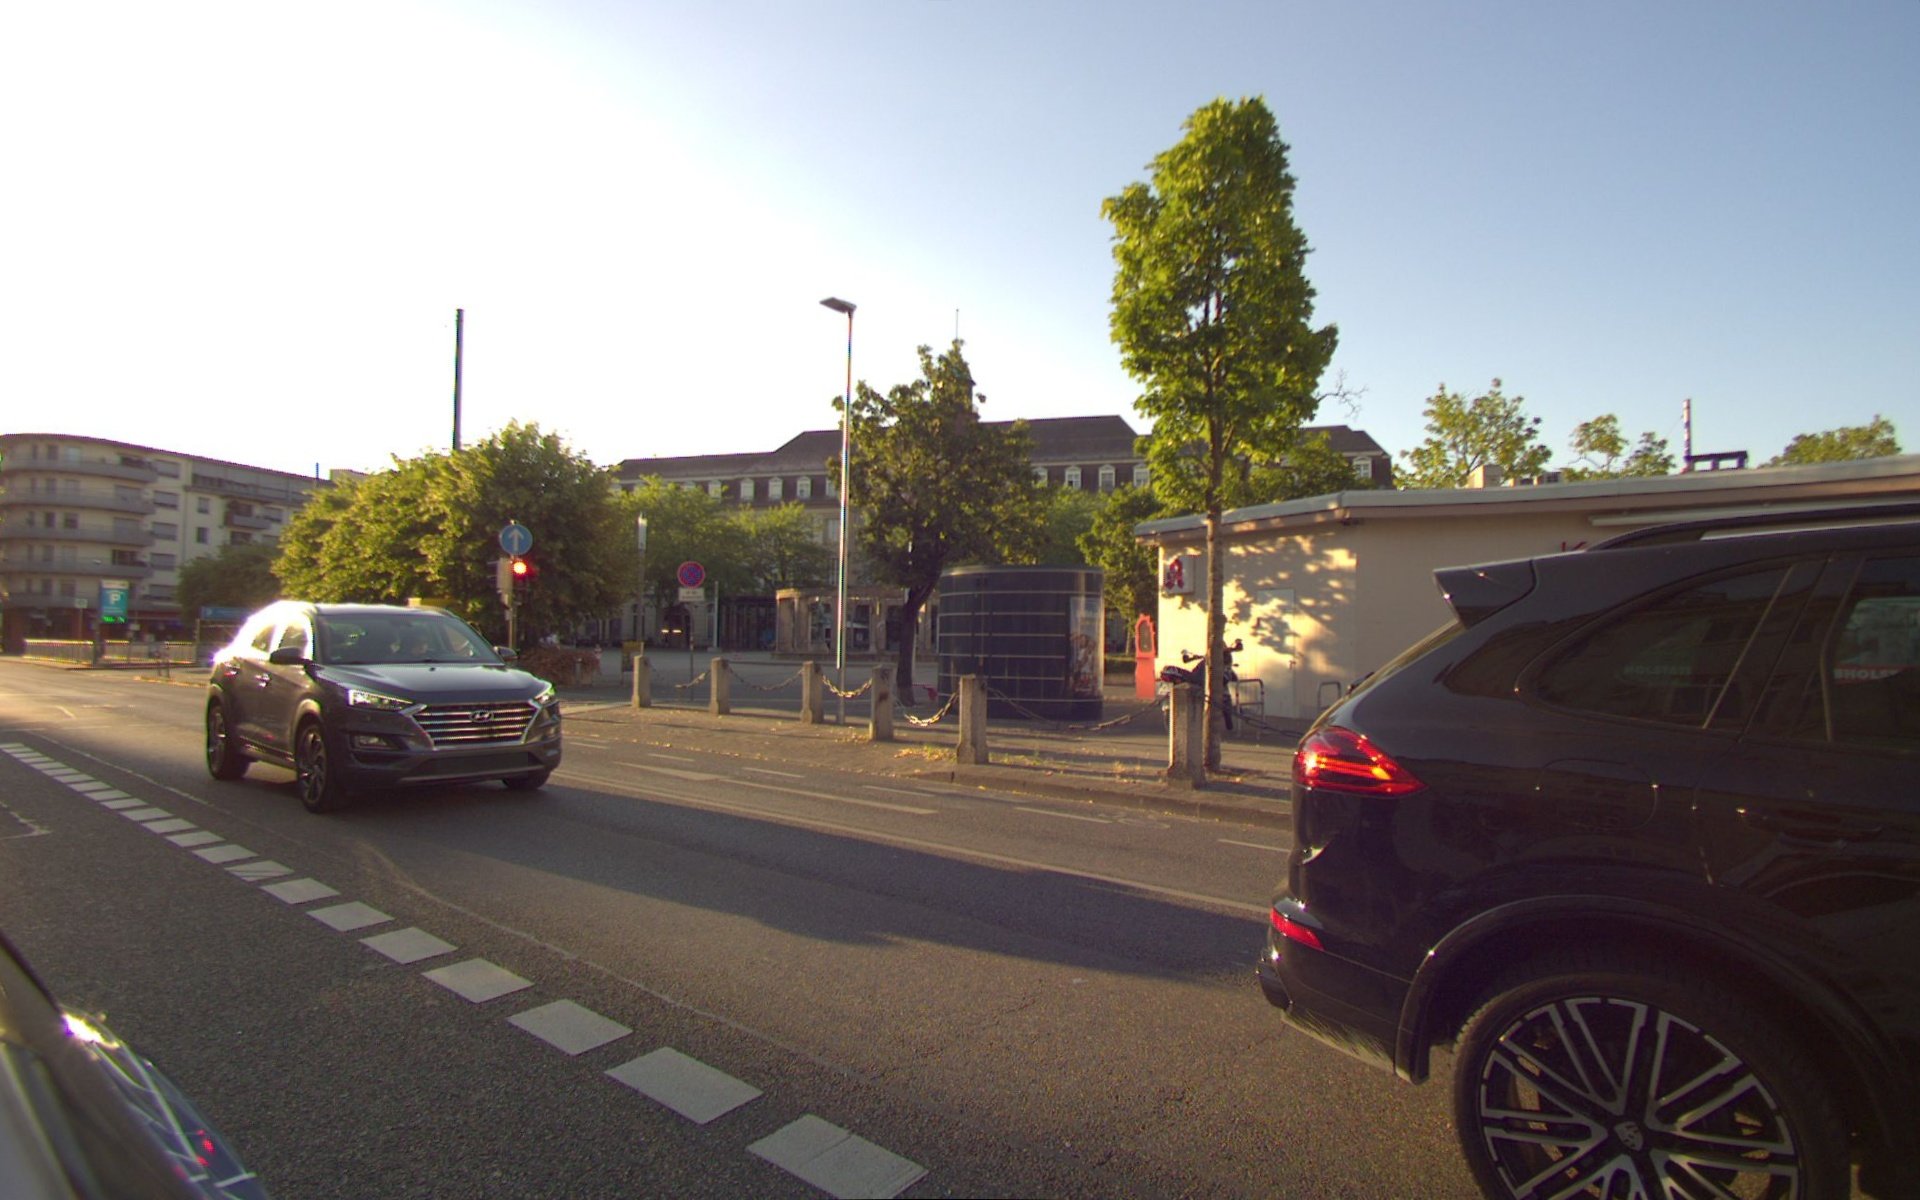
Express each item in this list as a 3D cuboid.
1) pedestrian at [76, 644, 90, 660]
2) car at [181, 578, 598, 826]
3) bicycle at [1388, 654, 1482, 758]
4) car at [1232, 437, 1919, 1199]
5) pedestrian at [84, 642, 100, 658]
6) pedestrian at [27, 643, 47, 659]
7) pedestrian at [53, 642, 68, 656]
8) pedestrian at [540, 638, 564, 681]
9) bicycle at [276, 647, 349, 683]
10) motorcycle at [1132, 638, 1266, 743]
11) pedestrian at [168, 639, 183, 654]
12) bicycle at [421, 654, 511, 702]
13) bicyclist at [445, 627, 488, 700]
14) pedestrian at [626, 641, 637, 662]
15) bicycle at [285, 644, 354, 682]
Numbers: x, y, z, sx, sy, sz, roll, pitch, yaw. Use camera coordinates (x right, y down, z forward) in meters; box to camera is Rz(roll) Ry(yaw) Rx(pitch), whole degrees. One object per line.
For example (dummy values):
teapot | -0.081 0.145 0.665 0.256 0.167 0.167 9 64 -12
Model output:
pedestrian | -74.058 4.394 85.416 0.888 1.332 0.723 -2 -3 39
car | -5.290 0.812 9.130 4.447 1.702 1.853 -2 -5 41
bicycle | 6.290 1.356 13.357 0.632 1.266 1.834 -2 -4 41
car | 3.059 0.592 1.894 4.558 1.727 1.929 -2 -4 40
pedestrian | -74.151 4.271 86.423 0.814 1.332 0.684 -1 -3 16
pedestrian | -74.840 4.146 82.043 0.726 1.332 0.885 -1 -3 13
pedestrian | -74.048 4.028 83.311 0.875 1.201 0.734 2 -4 -40
pedestrian | -15.800 2.305 39.216 0.693 1.633 0.843 1 -2 -13
bicycle | -21.855 2.169 34.181 0.548 1.143 2.007 -2 -2 36
motorcycle | 3.633 1.319 15.186 0.868 1.440 2.554 -2 -4 41
pedestrian | -70.977 4.215 91.550 0.721 1.332 0.891 1 -3 -11
bicycle | -12.060 1.882 24.736 1.889 1.126 0.707 2 -3 -33
bicyclist | -12.067 1.537 24.750 0.766 1.737 0.857 3 -4 -34
pedestrian | -17.642 2.767 54.354 0.454 1.071 0.531 0 -3 -30
bicycle | -22.579 2.217 35.714 0.548 1.262 2.007 -2 -2 36
